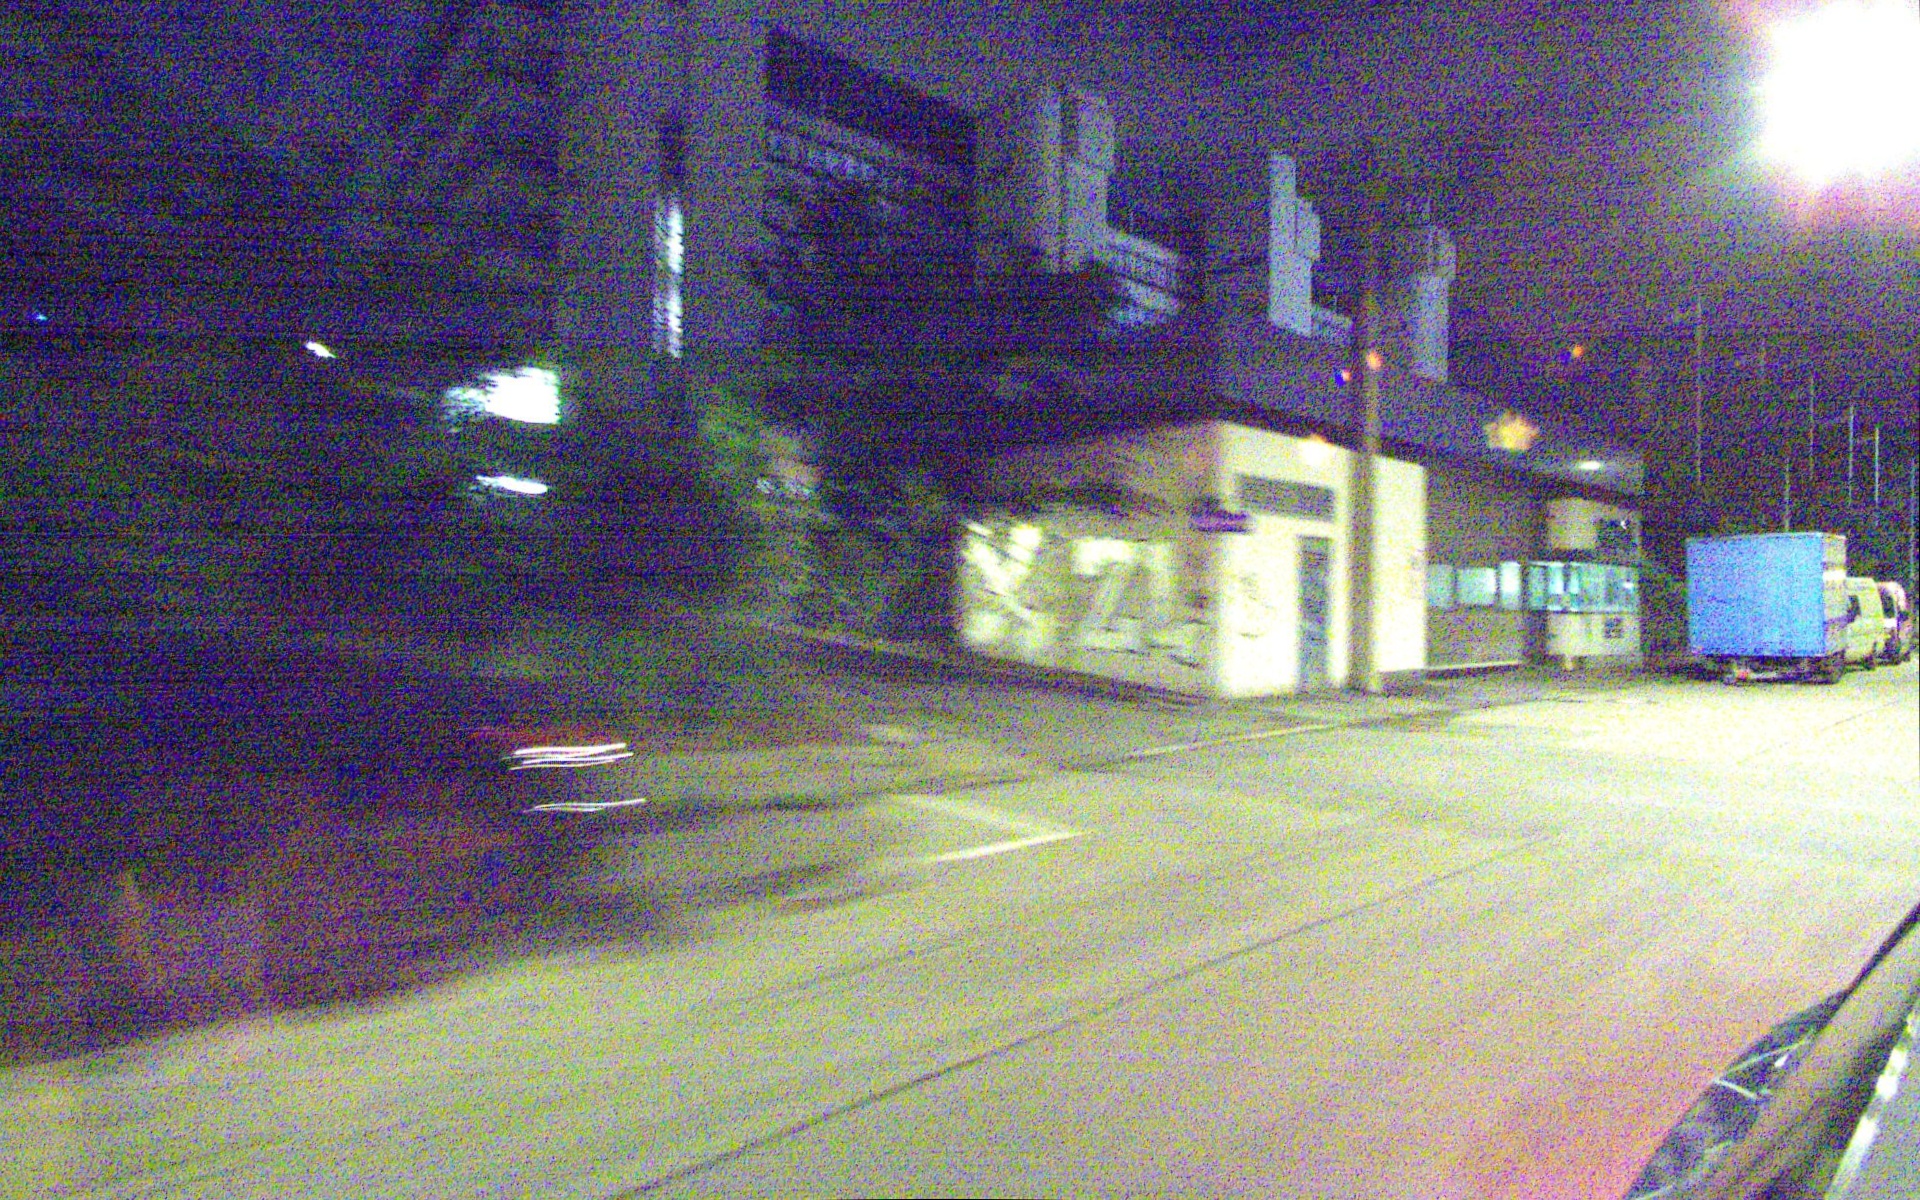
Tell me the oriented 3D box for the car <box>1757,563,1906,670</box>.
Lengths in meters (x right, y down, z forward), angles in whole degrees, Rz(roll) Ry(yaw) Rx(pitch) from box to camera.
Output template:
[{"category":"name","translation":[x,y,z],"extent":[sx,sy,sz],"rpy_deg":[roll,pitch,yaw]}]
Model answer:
[{"category":"car","translation":[23.734,0.425,27.454],"extent":[6.526,2.581,1.944],"rpy_deg":[0,-1,-39]}]

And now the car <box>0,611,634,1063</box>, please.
[{"category":"car","translation":[-3.743,0.752,3.664],"extent":[4.595,1.404,1.729],"rpy_deg":[0,-1,-42]}]

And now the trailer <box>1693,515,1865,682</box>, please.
[{"category":"trailer","translation":[18.526,-0.009,22.839],"extent":[4.288,3.368,2.400],"rpy_deg":[1,-1,-43]}]

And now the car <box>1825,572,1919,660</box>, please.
[{"category":"car","translation":[29.622,0.501,32.541],"extent":[5.922,2.581,1.996],"rpy_deg":[0,-1,-42]}]
